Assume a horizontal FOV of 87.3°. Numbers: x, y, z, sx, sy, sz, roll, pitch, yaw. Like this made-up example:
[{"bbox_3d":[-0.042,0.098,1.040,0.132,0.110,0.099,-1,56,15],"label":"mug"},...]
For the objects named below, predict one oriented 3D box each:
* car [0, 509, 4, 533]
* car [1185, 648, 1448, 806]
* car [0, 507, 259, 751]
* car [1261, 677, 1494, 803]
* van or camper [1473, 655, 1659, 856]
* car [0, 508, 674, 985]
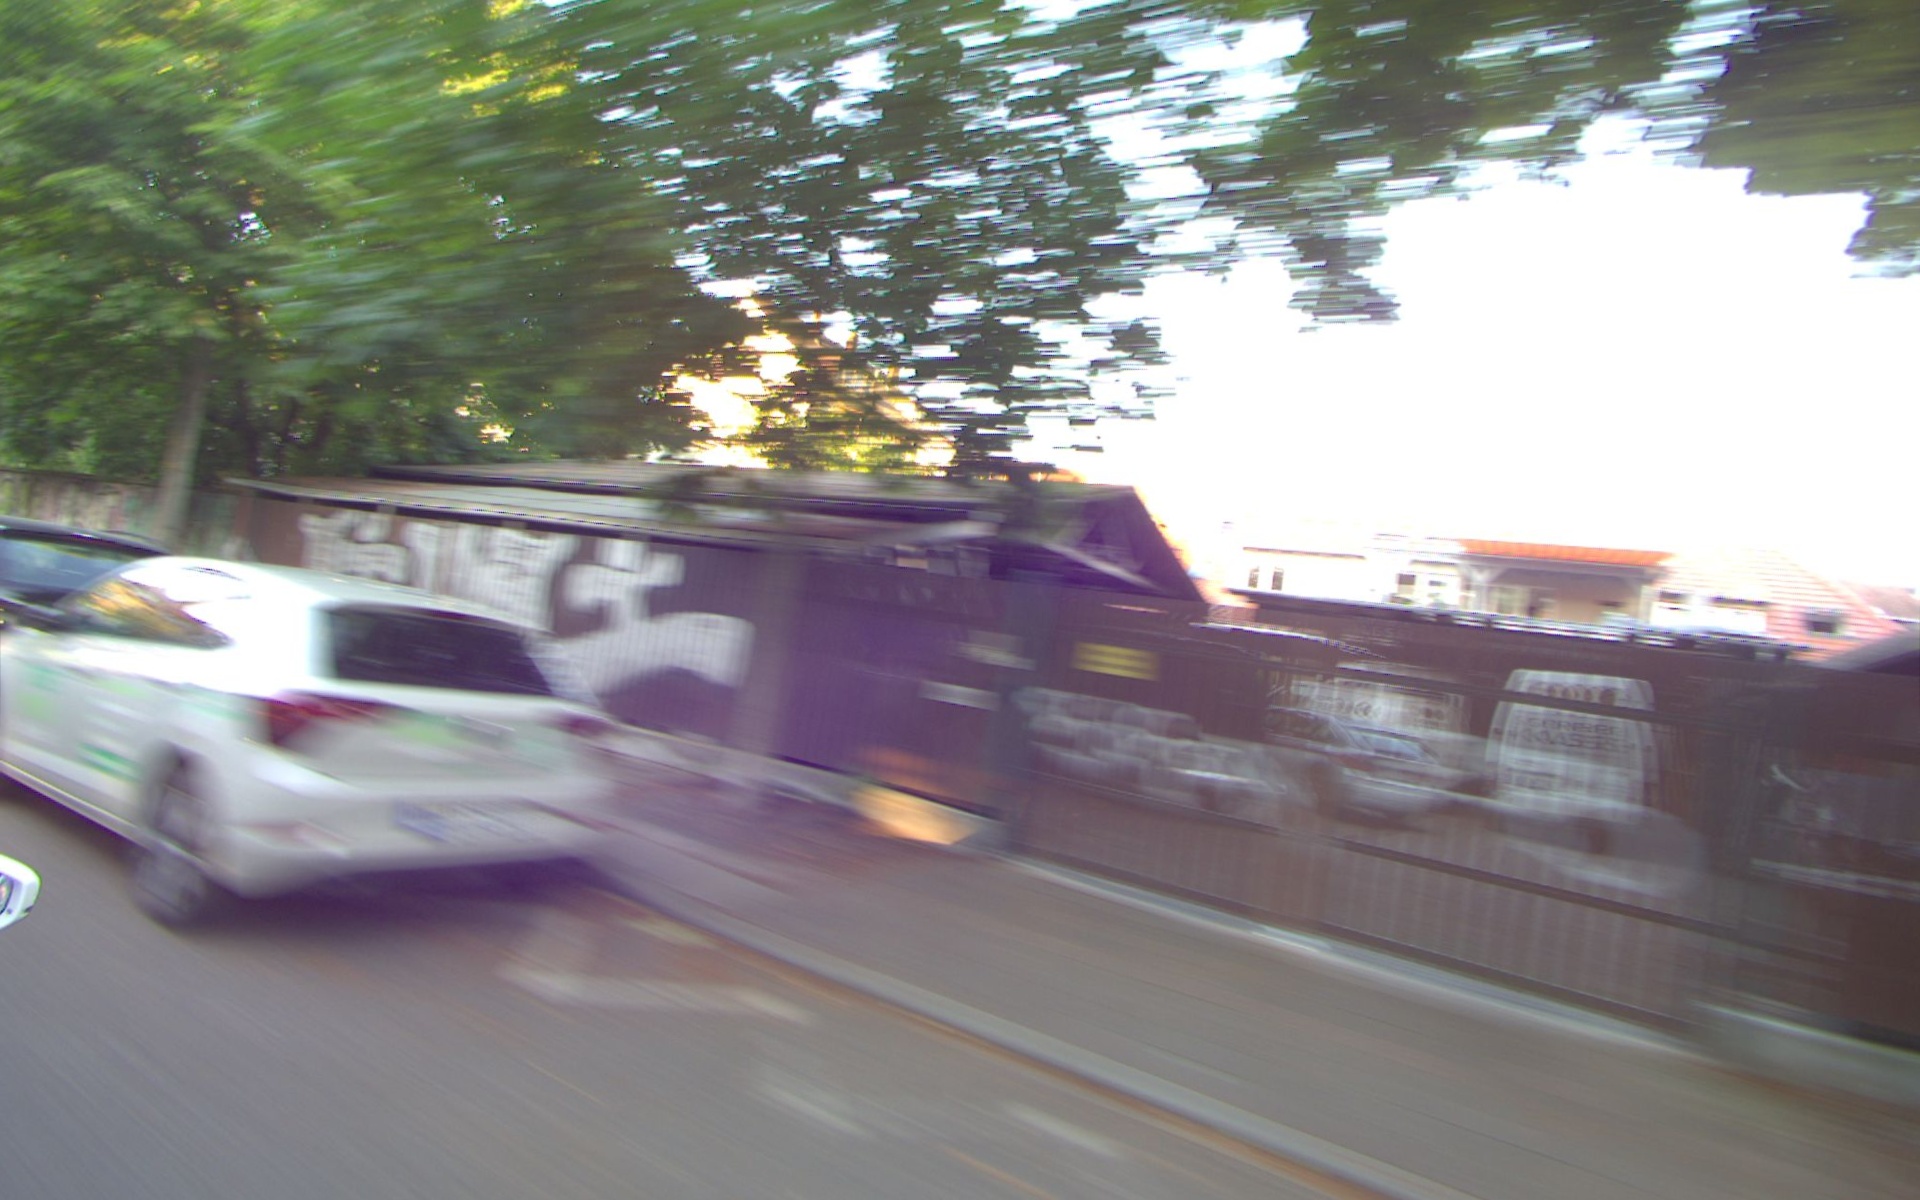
[{"bbox_3d":[-12.541,-0.590,11.170,3.809,1.458,1.764,8,-2,32],"label":"car"},{"bbox_3d":[6.472,2.242,18.352,4.009,2.023,1.859,8,-2,31],"label":"car"},{"bbox_3d":[-7.530,0.029,7.777,4.319,1.471,1.764,8,-2,32],"label":"car"},{"bbox_3d":[8.486,2.791,20.517,4.009,1.702,1.859,8,-2,31],"label":"car"},{"bbox_3d":[9.495,2.388,16.006,1.966,2.480,3.999,8,-2,29],"label":"van or camper"},{"bbox_3d":[-3.655,0.505,5.345,3.939,1.458,1.764,8,-2,32],"label":"car"}]
